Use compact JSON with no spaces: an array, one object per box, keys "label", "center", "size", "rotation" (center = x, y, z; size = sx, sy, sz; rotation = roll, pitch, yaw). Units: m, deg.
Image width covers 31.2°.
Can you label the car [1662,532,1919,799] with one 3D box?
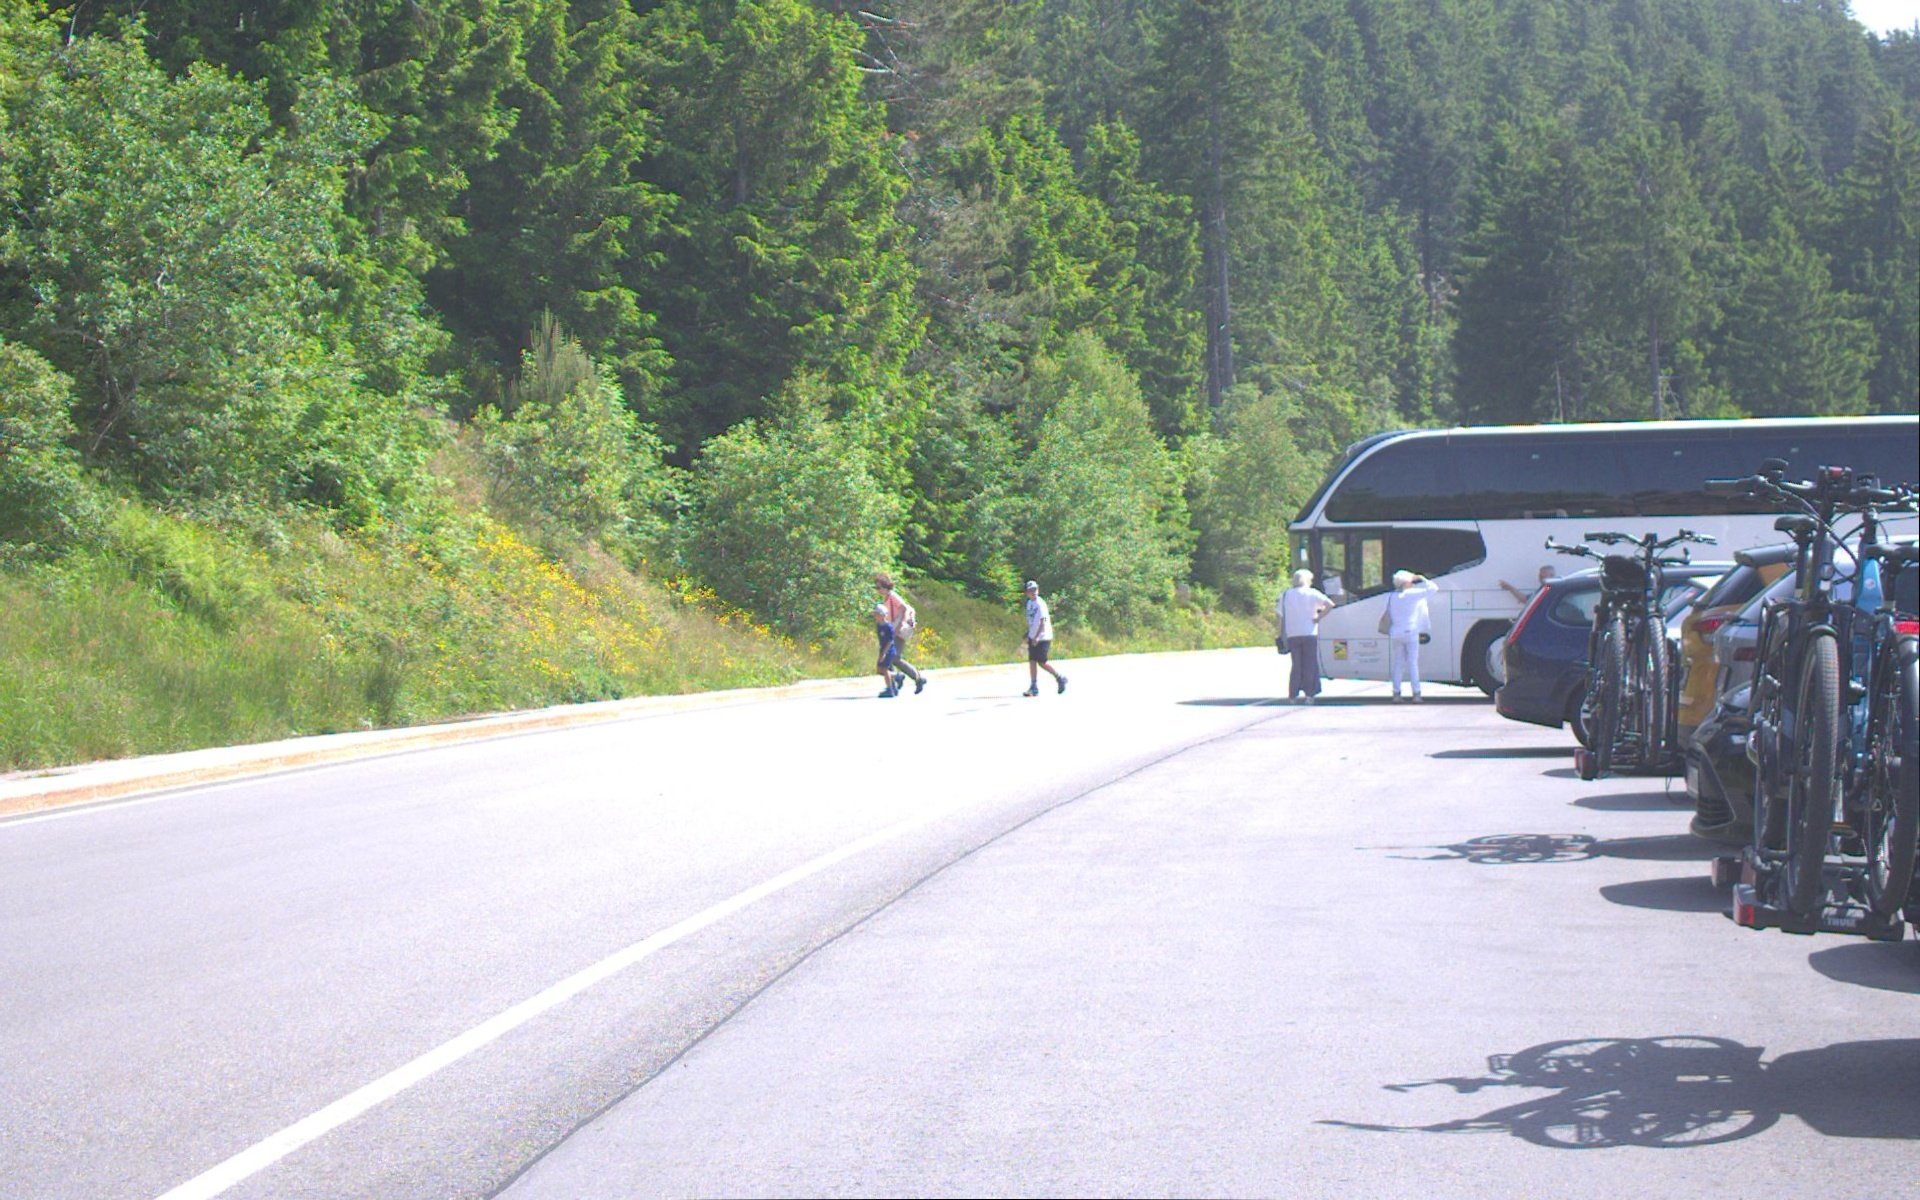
[{"label":"car","center":[6.429,0.344,21.085],"size":[3.988,1.548,1.659],"rotation":[-2,0,7]}]

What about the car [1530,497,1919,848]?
[{"label":"car","center":[5.503,0.294,17.405],"size":[5.035,1.645,2.047],"rotation":[-2,0,7]}]

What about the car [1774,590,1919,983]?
[{"label":"car","center":[5.131,0.556,11.986],"size":[4.245,1.264,1.838],"rotation":[-2,0,7]}]

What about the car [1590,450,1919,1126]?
[{"label":"car","center":[4.257,0.421,9.278],"size":[4.951,1.690,1.944],"rotation":[-1,1,9]}]

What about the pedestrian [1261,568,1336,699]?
[{"label":"pedestrian","center":[4.172,0.405,42.289],"size":[0.771,1.579,0.772],"rotation":[-2,0,14]}]

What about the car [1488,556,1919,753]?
[{"label":"car","center":[6.344,0.418,27.843],"size":[3.988,1.444,1.861],"rotation":[-2,0,7]}]

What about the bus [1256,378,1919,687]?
[{"label":"bus","center":[10.469,-0.866,42.740],"size":[13.104,3.520,3.041],"rotation":[-2,0,17]}]

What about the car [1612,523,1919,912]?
[{"label":"car","center":[5.016,0.420,14.636],"size":[4.245,1.548,1.838],"rotation":[-2,0,7]}]

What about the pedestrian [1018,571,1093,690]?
[{"label":"pedestrian","center":[1.294,0.409,46.628],"size":[0.853,1.579,0.818],"rotation":[-2,0,-7]}]

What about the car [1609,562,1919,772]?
[{"label":"car","center":[6.721,0.434,24.491],"size":[3.988,1.393,1.620],"rotation":[-2,0,7]}]

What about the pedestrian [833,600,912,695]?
[{"label":"pedestrian","center":[-1.216,0.652,47.636],"size":[0.734,1.275,0.783],"rotation":[-2,0,-36]}]

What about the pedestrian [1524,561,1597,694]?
[{"label":"pedestrian","center":[7.313,0.329,41.873],"size":[0.770,1.579,0.772],"rotation":[-2,0,15]}]

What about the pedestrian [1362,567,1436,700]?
[{"label":"pedestrian","center":[5.350,0.407,41.907],"size":[0.771,1.579,0.772],"rotation":[-2,0,14]}]

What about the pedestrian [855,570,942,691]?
[{"label":"pedestrian","center":[-0.873,0.431,48.666],"size":[0.854,1.677,0.870],"rotation":[-2,0,-33]}]
